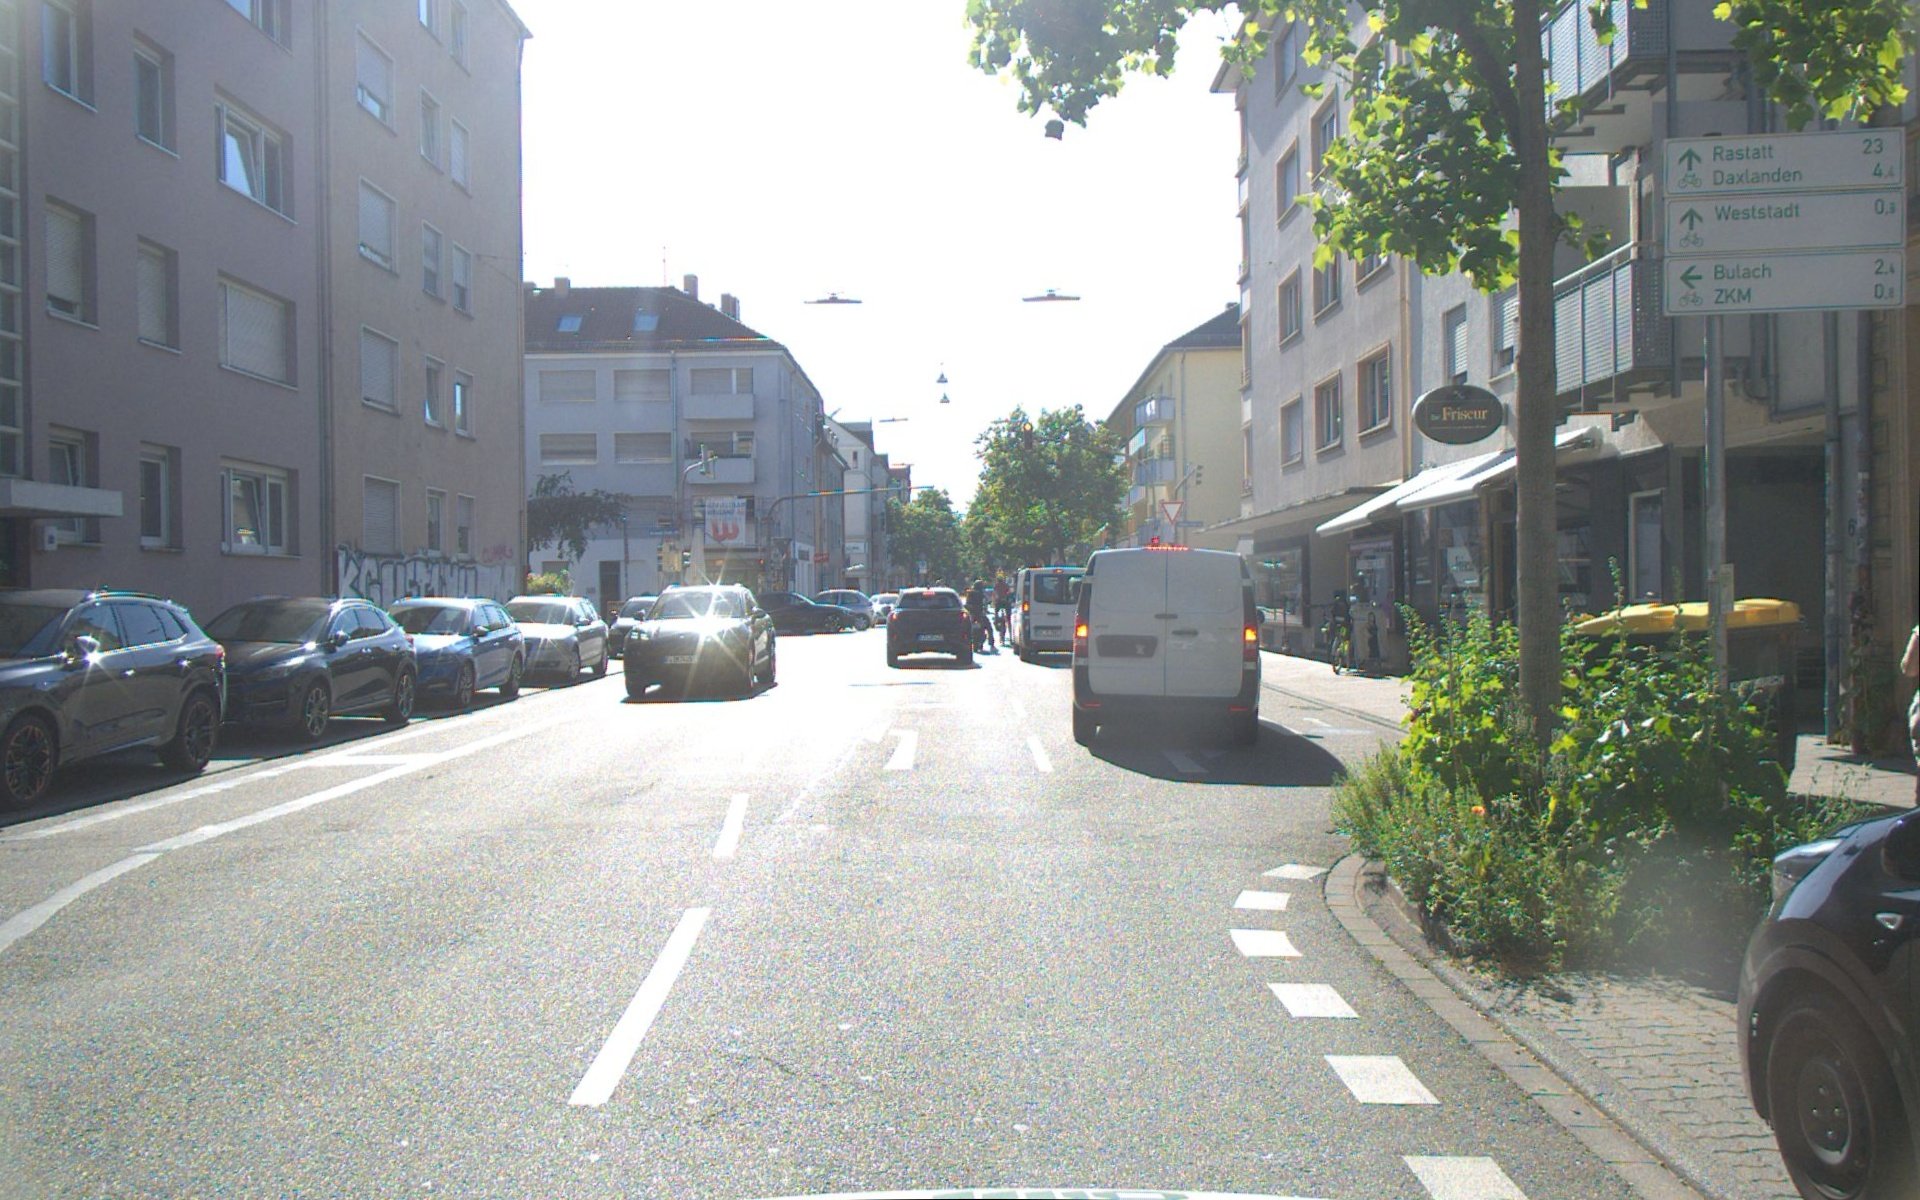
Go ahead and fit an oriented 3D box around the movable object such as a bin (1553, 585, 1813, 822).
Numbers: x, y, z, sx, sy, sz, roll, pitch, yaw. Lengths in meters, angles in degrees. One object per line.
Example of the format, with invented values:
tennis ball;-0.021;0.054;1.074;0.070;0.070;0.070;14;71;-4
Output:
movable object such as a bin;4.614;0.610;10.546;1.261;1.371;1.091;-1;0;-42

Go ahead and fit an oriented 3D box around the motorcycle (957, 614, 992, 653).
motorcycle;0.335;0.807;40.458;0.791;0.878;1.822;-1;0;-1

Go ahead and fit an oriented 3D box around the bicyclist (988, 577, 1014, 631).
bicyclist;1.136;0.113;46.114;0.670;1.474;0.940;-1;0;-1

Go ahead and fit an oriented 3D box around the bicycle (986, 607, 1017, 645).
bicycle;1.138;0.722;45.959;0.759;1.009;1.717;-1;0;-1

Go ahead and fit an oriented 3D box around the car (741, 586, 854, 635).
car;-5.727;0.371;58.761;3.908;1.668;1.999;-1;0;-4

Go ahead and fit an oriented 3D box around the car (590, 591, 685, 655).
car;-7.931;0.534;40.973;1.619;1.505;3.999;1;0;-1

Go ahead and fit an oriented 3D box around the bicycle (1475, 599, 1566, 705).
bicycle;7.146;0.638;21.156;0.537;1.291;1.883;0;0;0

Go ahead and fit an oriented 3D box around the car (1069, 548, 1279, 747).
car;2.272;0.439;17.760;1.942;1.854;4.550;-1;0;7

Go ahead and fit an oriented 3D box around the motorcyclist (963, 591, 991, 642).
motorcyclist;0.414;0.399;40.466;0.645;1.248;0.694;-1;0;-2

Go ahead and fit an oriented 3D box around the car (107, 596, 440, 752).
car;-7.737;0.759;19.143;1.952;1.523;4.229;2;0;1

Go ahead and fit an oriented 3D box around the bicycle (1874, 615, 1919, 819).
bicycle;5.750;0.649;8.829;0.525;1.169;2.123;-1;-1;-1

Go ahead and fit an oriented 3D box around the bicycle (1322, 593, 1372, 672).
bicycle;6.620;0.547;28.350;0.465;1.296;1.218;-4;0;-1

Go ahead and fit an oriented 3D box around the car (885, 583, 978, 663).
car;-0.612;0.443;34.656;1.807;1.534;3.999;-1;0;-1

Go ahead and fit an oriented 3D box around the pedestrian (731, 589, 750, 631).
pedestrian;-8.894;0.413;66.893;0.670;1.692;0.601;-1;0;-2

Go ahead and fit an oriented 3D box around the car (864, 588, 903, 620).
car;-3.431;0.177;74.928;1.585;1.422;3.731;0;0;0

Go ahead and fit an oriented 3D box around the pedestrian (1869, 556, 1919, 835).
pedestrian;5.299;0.505;9.072;0.360;1.495;0.389;-2;0;-2

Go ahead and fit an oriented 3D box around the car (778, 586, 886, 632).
car;-4.766;0.331;62.016;3.906;1.511;1.727;-1;4;-2

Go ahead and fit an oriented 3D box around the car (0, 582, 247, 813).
car;-7.709;0.678;13.488;1.838;1.634;4.365;1;0;1

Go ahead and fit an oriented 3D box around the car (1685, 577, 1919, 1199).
car;2.893;0.686;2.849;1.602;1.501;3.579;-1;0;-2

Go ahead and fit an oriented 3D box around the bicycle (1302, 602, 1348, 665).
bicycle;6.966;0.626;31.597;0.513;1.138;1.534;-1;0;-1

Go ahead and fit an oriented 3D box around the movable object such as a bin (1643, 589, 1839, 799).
movable object such as a bin;5.489;0.617;11.612;1.022;1.371;1.103;-1;0;39

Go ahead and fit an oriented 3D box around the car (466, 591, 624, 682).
car;-7.553;0.618;30.565;1.740;1.495;4.759;2;0;-1

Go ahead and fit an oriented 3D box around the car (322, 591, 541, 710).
car;-7.584;0.658;24.228;1.686;1.523;4.626;2;0;0

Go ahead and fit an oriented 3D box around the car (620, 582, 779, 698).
car;-4.026;0.571;26.207;1.829;1.642;4.427;-1;0;-1

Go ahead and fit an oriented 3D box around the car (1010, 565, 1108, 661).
car;2.130;0.257;36.649;1.779;1.955;4.643;-1;0;-1
